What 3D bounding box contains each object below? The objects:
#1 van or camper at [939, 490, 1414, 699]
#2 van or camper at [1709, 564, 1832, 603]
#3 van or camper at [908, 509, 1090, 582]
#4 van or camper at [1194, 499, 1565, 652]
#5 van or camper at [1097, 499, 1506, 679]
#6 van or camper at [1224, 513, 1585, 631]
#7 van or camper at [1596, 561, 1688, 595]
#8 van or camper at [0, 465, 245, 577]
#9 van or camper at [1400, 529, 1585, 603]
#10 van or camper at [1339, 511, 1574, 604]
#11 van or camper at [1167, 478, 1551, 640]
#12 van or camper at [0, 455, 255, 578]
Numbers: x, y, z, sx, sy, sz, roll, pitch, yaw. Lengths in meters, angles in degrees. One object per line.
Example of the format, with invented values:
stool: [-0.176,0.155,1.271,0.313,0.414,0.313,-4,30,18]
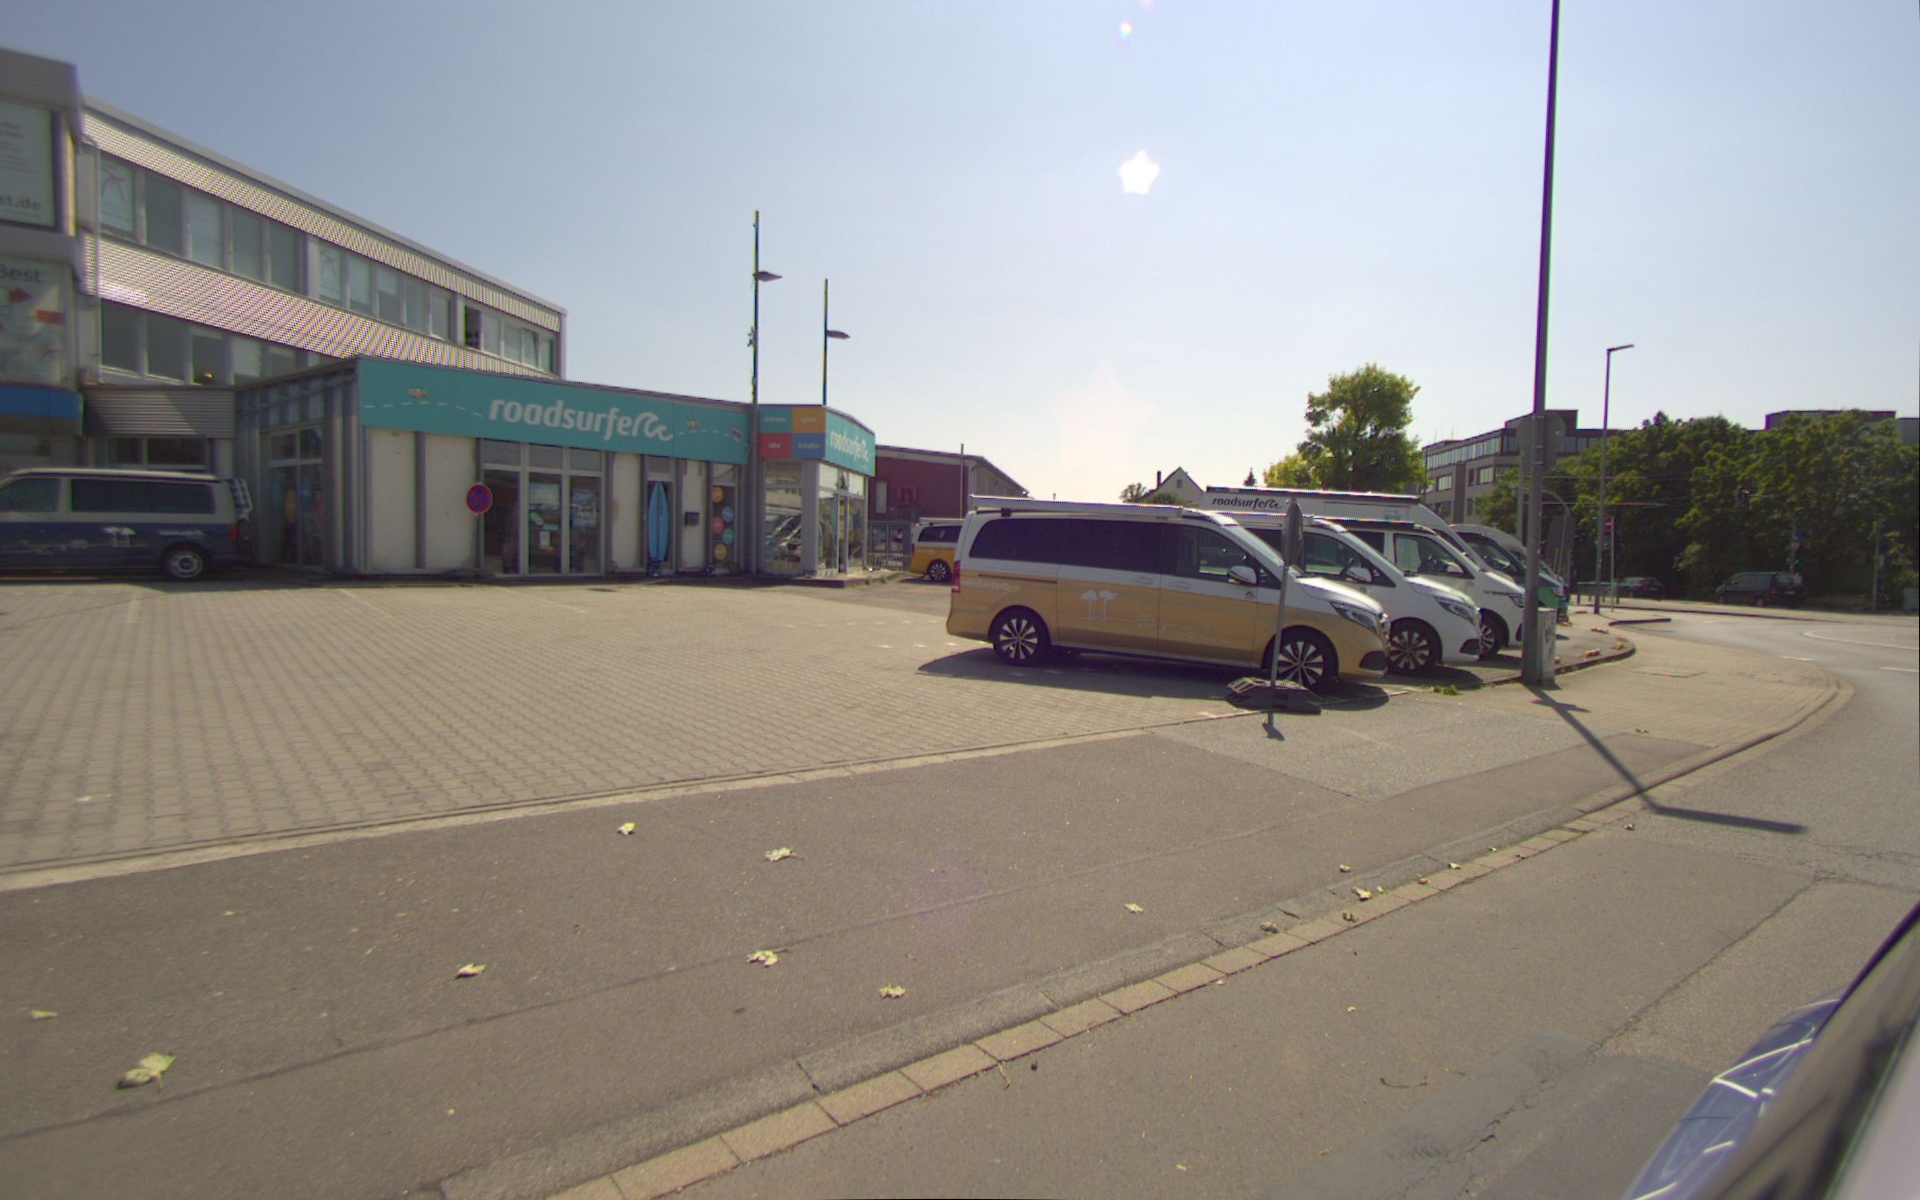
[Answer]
van or camper: [2.483,-0.209,11.992,5.077,1.984,1.974,4,4,22]
van or camper: [43.743,-0.961,54.819,2.458,1.850,5.295,2,3,3]
van or camper: [1.254,-1.717,31.889,5.341,2.064,2.284,3,3,14]
van or camper: [6.544,-0.472,16.391,5.076,2.101,2.437,3,3,20]
van or camper: [4.567,-0.266,13.998,4.925,2.070,2.028,3,4,22]
van or camper: [9.373,-0.689,22.192,6.759,2.160,2.771,3,3,18]
van or camper: [45.154,-1.492,67.214,2.457,2.038,5.239,2,3,0]
van or camper: [-17.539,-1.537,20.258,5.031,2.038,2.120,-1,4,-44]
van or camper: [21.513,-1.423,41.237,5.967,2.676,2.777,2,3,13]
van or camper: [17.252,-1.508,35.607,6.732,2.919,2.781,2,2,7]
van or camper: [7.258,-0.845,19.236,6.275,2.668,2.521,3,3,16]
van or camper: [-15.909,-1.462,18.287,1.995,2.038,4.941,4,4,44]
